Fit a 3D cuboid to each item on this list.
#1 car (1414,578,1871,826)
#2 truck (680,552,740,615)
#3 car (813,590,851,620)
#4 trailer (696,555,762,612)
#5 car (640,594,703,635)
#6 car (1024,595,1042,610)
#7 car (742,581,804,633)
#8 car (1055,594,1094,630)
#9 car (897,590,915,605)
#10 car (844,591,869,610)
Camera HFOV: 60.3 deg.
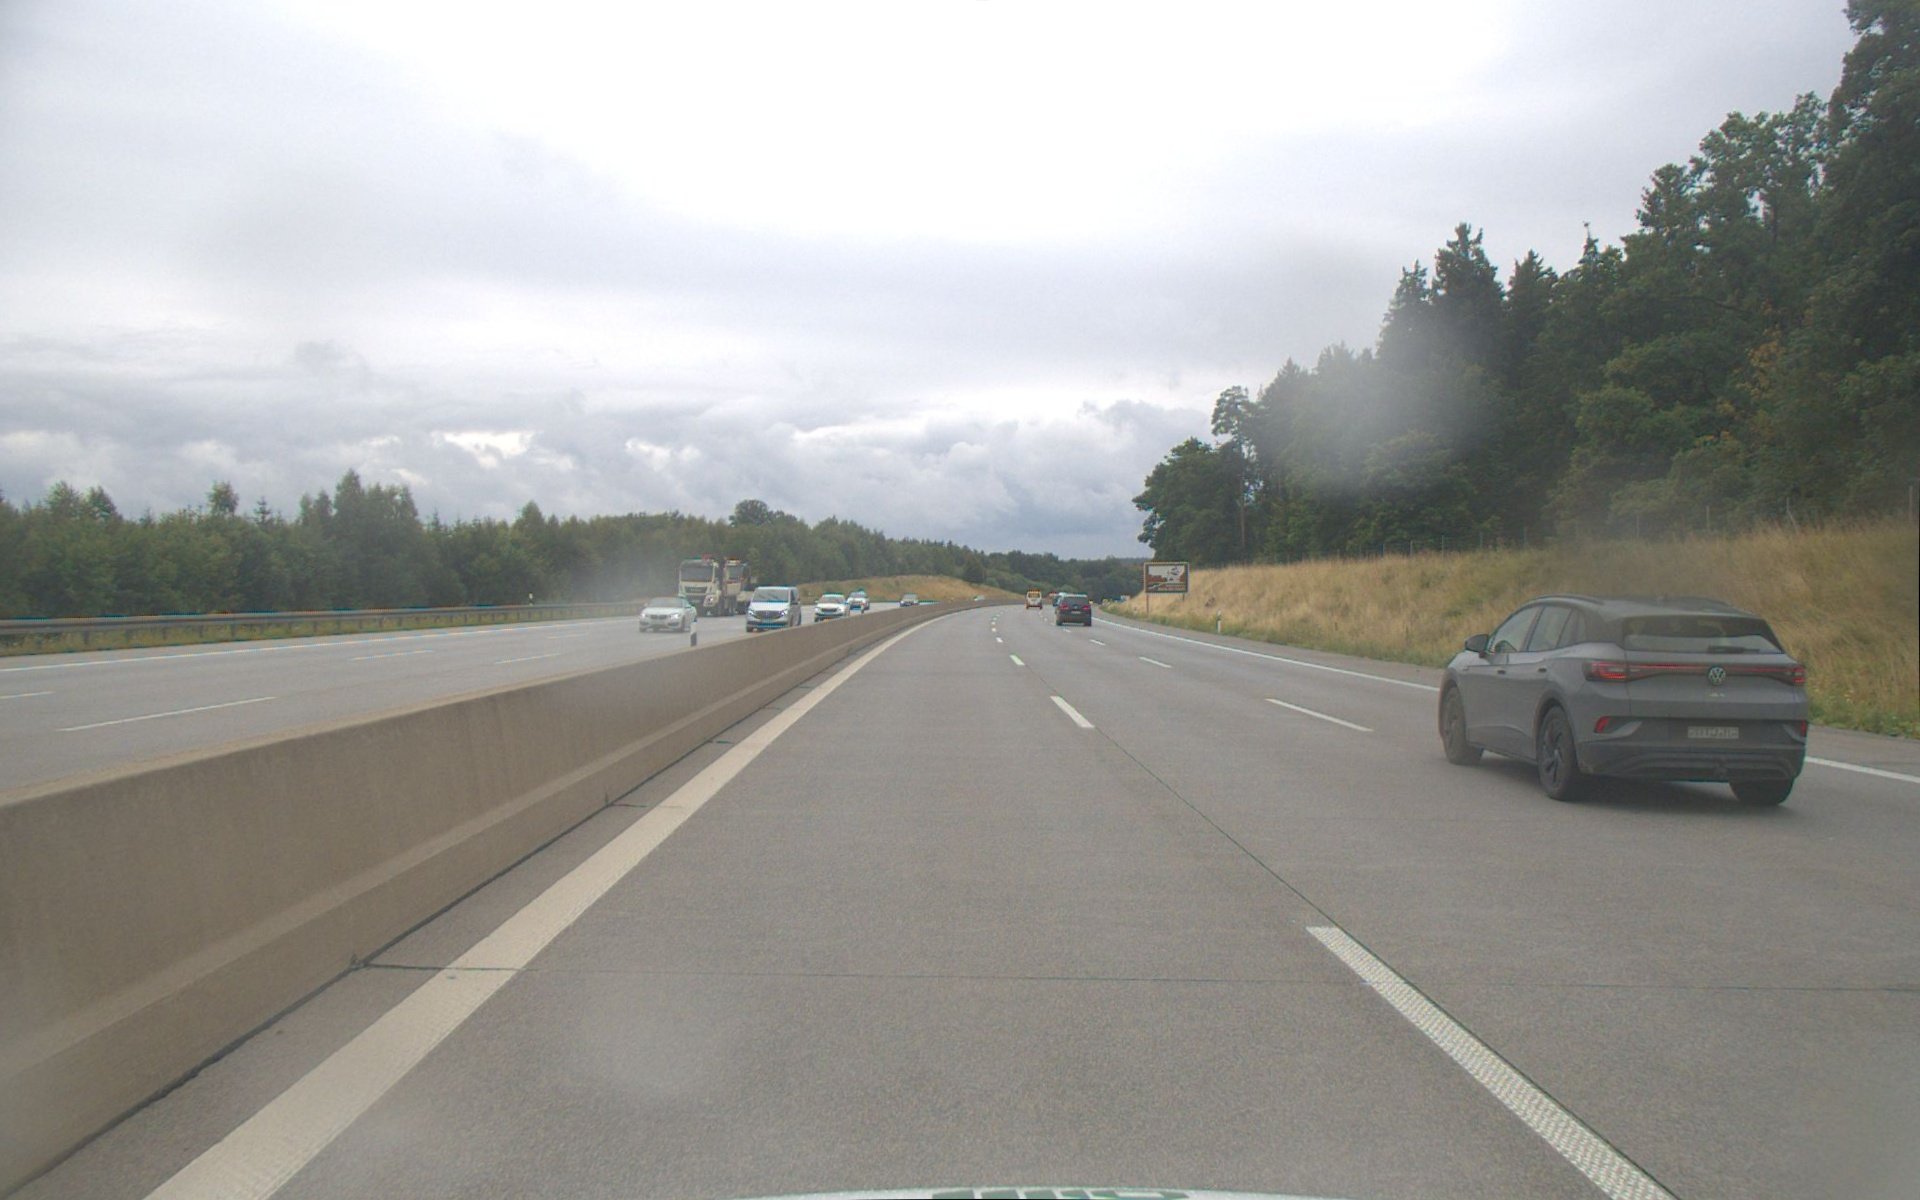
[{"bbox_3d":[5.645,0.702,14.559,1.859,1.719,5.267,1,1,0],"label":"car"},{"bbox_3d":[-15.488,-1.015,102.846,2.533,3.716,7.660,0,0,0],"label":"truck"},{"bbox_3d":[-7.160,0.260,93.000,1.679,1.445,4.214,3,2,1],"label":"car"},{"bbox_3d":[-15.456,-1.058,111.657,2.533,3.605,13.722,0,0,0],"label":"trailer"},{"bbox_3d":[-11.562,0.562,66.479,1.701,1.391,4.098,3,2,1],"label":"car"},{"bbox_3d":[8.355,0.307,189.278,1.804,1.526,4.000,-2,2,0],"label":"car"},{"bbox_3d":[-7.881,0.247,70.125,1.953,2.048,5.525,2,1,-1],"label":"car"},{"bbox_3d":[6.273,0.647,90.908,1.749,1.777,3.915,-2,2,0],"label":"car"},{"bbox_3d":[-5.467,-0.237,167.191,1.727,1.289,4.492,-1,-2,-1],"label":"car"},{"bbox_3d":[-9.345,0.048,150.034,1.726,1.614,4.758,1,1,2],"label":"car"}]
